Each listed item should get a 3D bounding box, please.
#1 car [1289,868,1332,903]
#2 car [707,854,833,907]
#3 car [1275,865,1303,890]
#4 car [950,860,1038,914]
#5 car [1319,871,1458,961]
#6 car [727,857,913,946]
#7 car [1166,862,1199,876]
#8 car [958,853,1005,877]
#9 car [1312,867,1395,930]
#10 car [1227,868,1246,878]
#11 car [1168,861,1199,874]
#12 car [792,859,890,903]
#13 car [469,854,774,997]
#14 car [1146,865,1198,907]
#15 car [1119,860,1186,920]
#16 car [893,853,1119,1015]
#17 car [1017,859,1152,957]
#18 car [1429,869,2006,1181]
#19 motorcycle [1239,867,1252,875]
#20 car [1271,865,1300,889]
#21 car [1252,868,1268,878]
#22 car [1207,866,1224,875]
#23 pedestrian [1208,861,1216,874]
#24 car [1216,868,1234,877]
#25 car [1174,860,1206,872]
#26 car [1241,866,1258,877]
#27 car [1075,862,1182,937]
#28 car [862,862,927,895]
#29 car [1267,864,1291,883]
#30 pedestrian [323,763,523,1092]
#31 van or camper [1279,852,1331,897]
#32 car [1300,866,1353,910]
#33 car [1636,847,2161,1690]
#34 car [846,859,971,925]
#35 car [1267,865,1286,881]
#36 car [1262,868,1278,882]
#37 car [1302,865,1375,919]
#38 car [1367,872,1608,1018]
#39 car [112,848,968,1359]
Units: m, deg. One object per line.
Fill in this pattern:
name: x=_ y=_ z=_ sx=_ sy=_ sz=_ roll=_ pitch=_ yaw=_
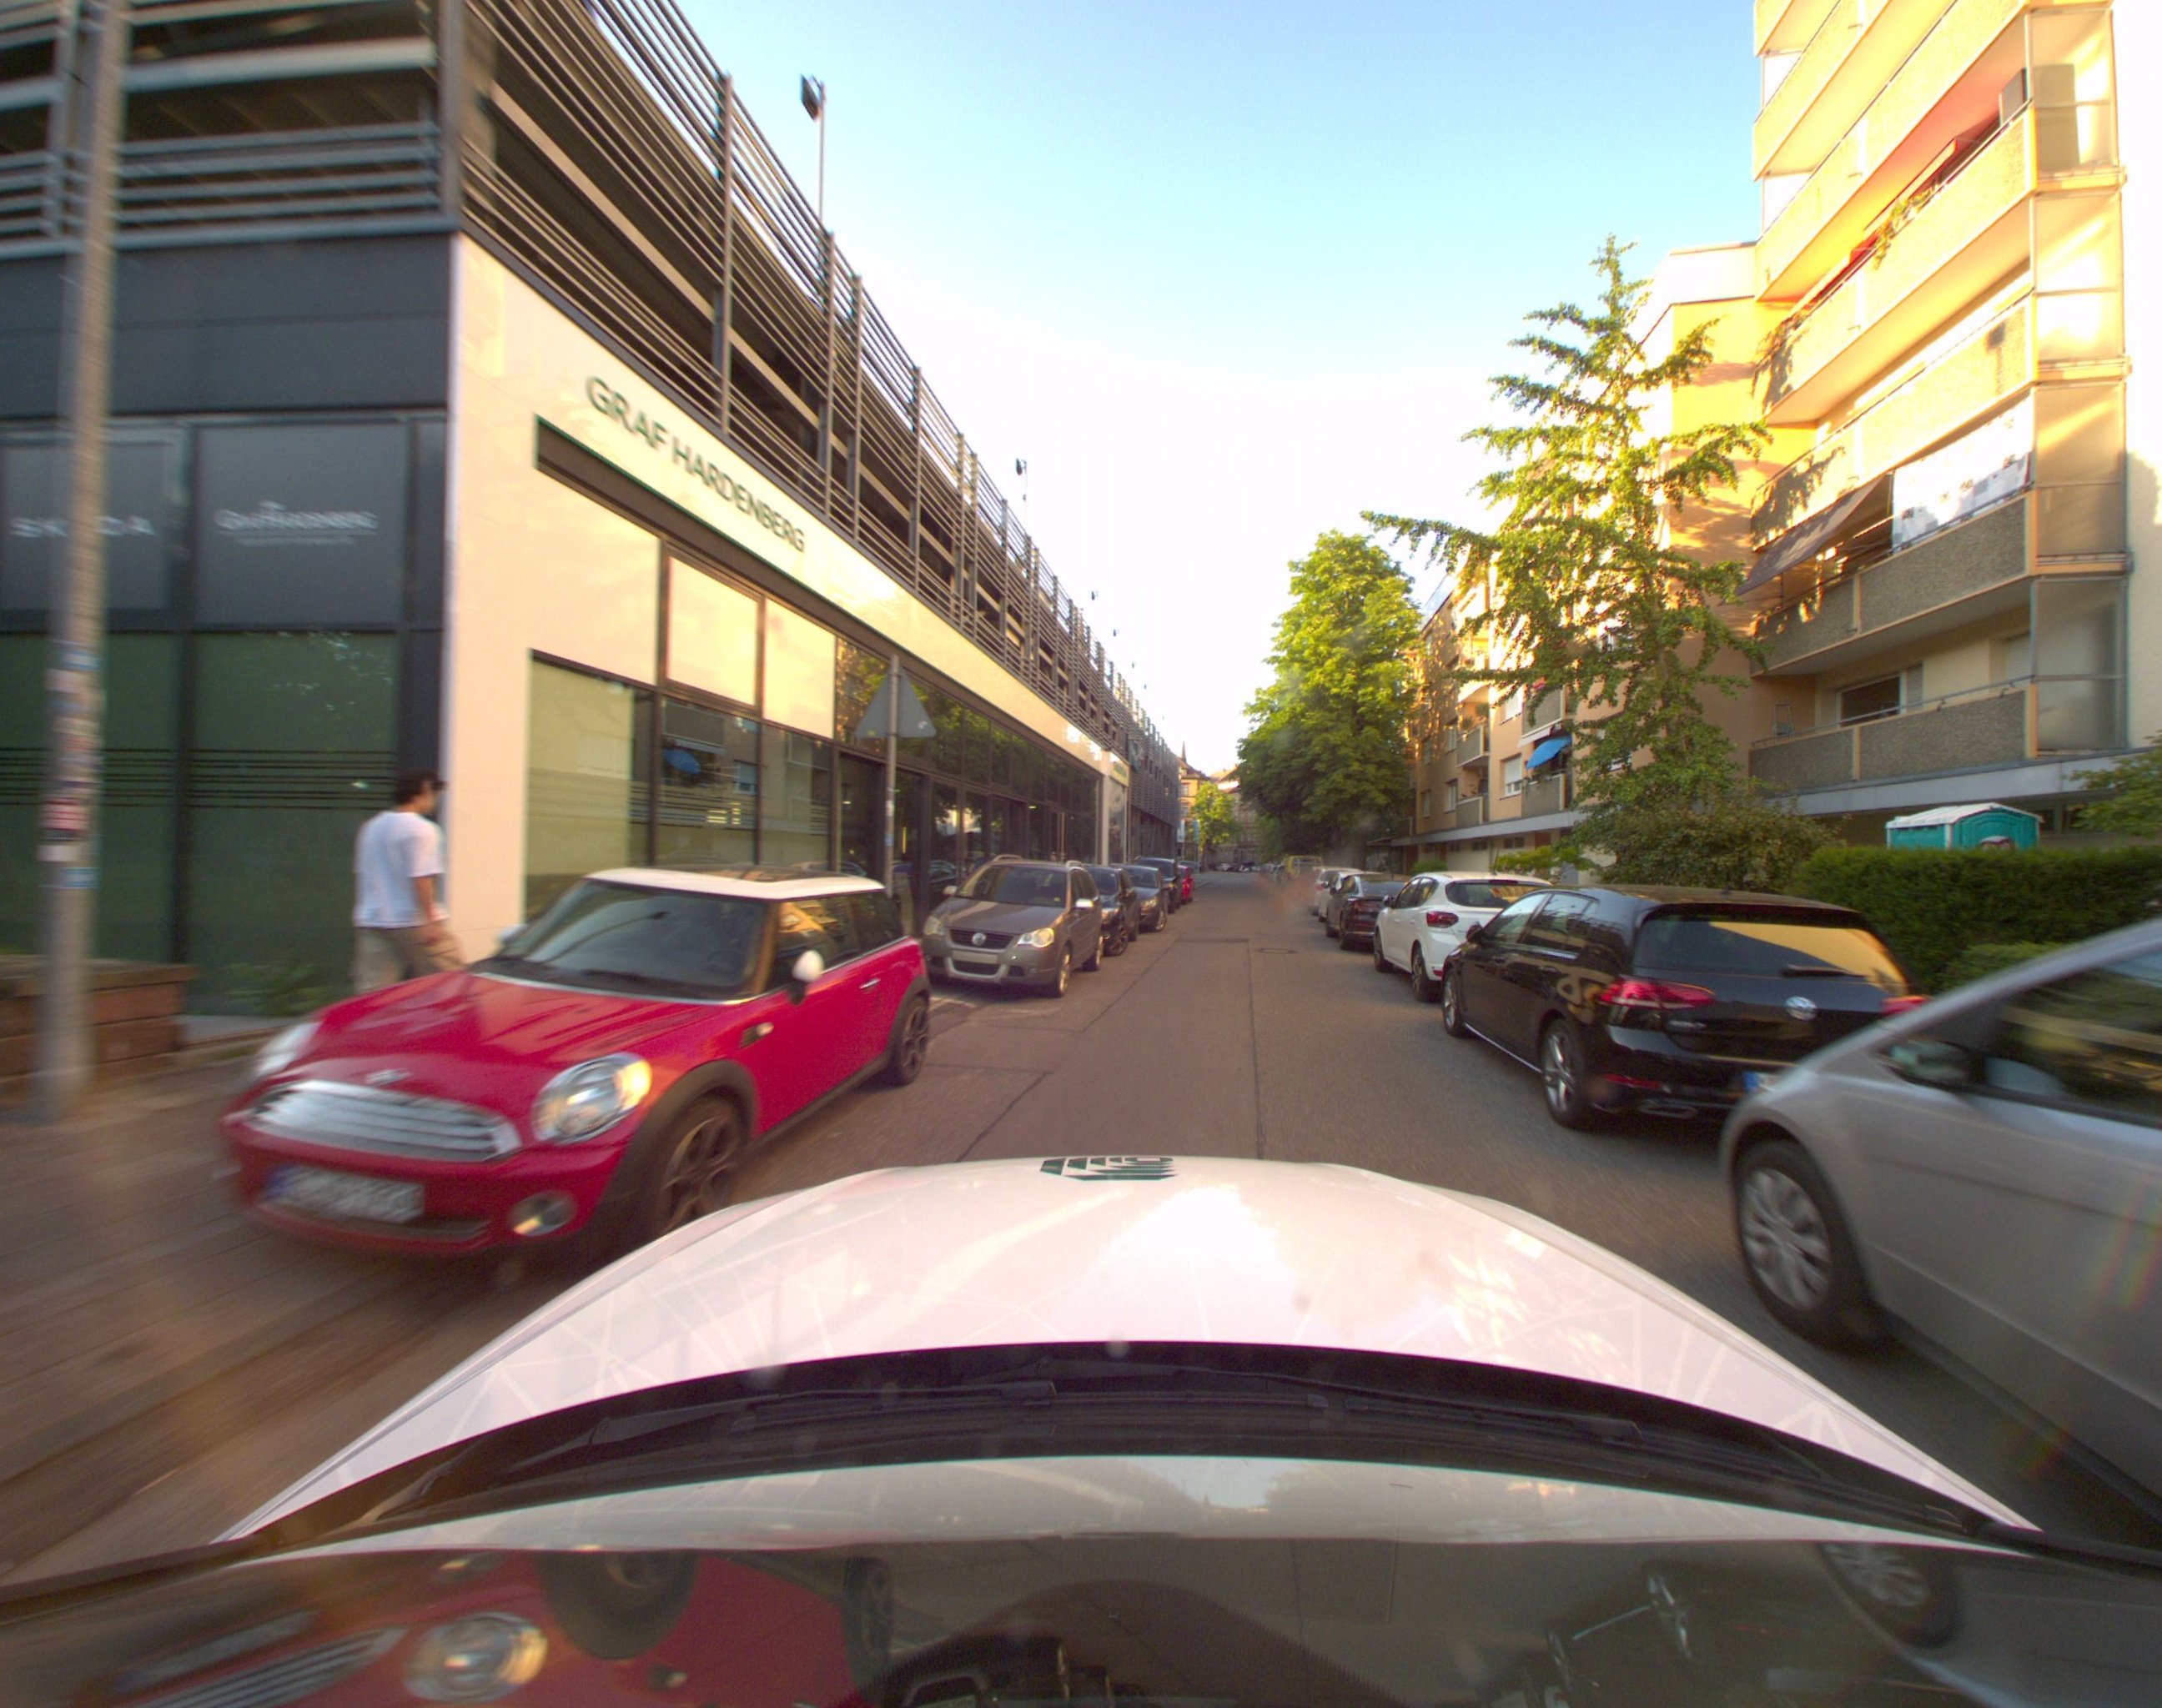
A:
car: x=10.034 y=1.328 z=35.781 sx=1.595 sy=1.382 sz=4.014 roll=1 pitch=0 yaw=13
car: x=-9.241 y=0.748 z=24.567 sx=1.686 sy=1.434 sz=3.932 roll=0 pitch=0 yaw=11
car: x=13.055 y=1.450 z=51.225 sx=1.553 sy=1.450 sz=3.464 roll=1 pitch=0 yaw=11
car: x=-2.792 y=1.029 z=27.233 sx=1.686 sy=1.658 sz=4.423 roll=0 pitch=0 yaw=11
car: x=5.814 y=1.084 z=15.935 sx=1.798 sy=1.417 sz=4.639 roll=0 pitch=0 yaw=11
car: x=-4.998 y=0.841 z=16.278 sx=1.686 sy=1.515 sz=4.205 roll=0 pitch=0 yaw=11
car: x=13.238 y=1.927 z=106.439 sx=4.105 sy=1.618 sz=1.918 roll=2 pitch=0 yaw=9
car: x=-5.296 y=0.565 z=43.766 sx=1.410 sy=1.255 sz=3.538 roll=1 pitch=0 yaw=12
car: x=7.152 y=1.111 z=21.725 sx=1.599 sy=1.461 sz=4.066 roll=0 pitch=0 yaw=11
car: x=25.659 y=3.112 z=134.625 sx=1.656 sy=1.431 sz=3.973 roll=1 pitch=0 yaw=-12
car: x=13.732 y=1.816 z=109.440 sx=4.043 sy=1.618 sz=1.770 roll=1 pitch=0 yaw=9
car: x=-8.422 y=0.905 z=28.945 sx=1.686 sy=1.434 sz=3.932 roll=0 pitch=0 yaw=11
car: x=-6.173 y=0.844 z=11.532 sx=1.583 sy=1.650 sz=3.888 roll=0 pitch=0 yaw=11
car: x=3.600 y=1.200 z=31.725 sx=1.686 sy=1.506 sz=3.802 roll=0 pitch=0 yaw=11
car: x=2.418 y=1.085 z=26.457 sx=1.686 sy=1.756 sz=4.416 roll=0 pitch=0 yaw=11
car: x=-0.715 y=0.845 z=10.434 sx=1.651 sy=1.497 sz=3.897 roll=6 pitch=1 yaw=12
car: x=0.218 y=0.883 z=15.138 sx=1.718 sy=1.402 sz=4.018 roll=6 pitch=1 yaw=10
car: x=3.919 y=0.846 z=5.984 sx=1.706 sy=1.419 sz=4.040 roll=0 pitch=0 yaw=11
motorcycle: x=26.531 y=2.776 z=131.186 sx=1.925 sy=1.340 sz=0.577 roll=1 pitch=0 yaw=1
car: x=14.124 y=1.568 z=56.414 sx=1.711 sy=1.519 sz=4.038 roll=1 pitch=0 yaw=11
car: x=30.531 y=3.260 z=138.958 sx=1.676 sy=1.526 sz=2.755 roll=1 pitch=0 yaw=-13
car: x=23.730 y=2.853 z=144.170 sx=1.656 sy=1.431 sz=3.879 roll=1 pitch=0 yaw=-13
pedestrian: x=18.048 y=1.892 z=112.362 sx=0.735 sy=1.804 sz=1.118 roll=1 pitch=0 yaw=-9
car: x=24.617 y=3.164 z=139.460 sx=1.655 sy=1.431 sz=4.152 roll=1 pitch=0 yaw=-11
car: x=16.723 y=1.835 z=124.860 sx=4.806 sy=1.732 sz=1.923 roll=1 pitch=0 yaw=5
car: x=29.515 y=3.047 z=142.694 sx=1.676 sy=1.782 sz=3.002 roll=1 pitch=0 yaw=-13
car: x=1.288 y=1.021 z=20.129 sx=1.924 sy=1.596 sz=4.220 roll=1 pitch=0 yaw=13
car: x=-7.706 y=0.976 z=33.882 sx=1.410 sy=1.255 sz=3.224 roll=1 pitch=0 yaw=12
car: x=16.161 y=1.570 z=66.530 sx=1.748 sy=1.442 sz=4.018 roll=1 pitch=0 yaw=11
pedestrian: x=-4.037 y=0.417 z=5.033 sx=0.716 sy=1.878 sz=0.622 roll=0 pitch=0 yaw=12
van or camper: x=11.206 y=0.974 z=41.002 sx=2.051 sy=2.096 sz=5.105 roll=1 pitch=0 yaw=10
car: x=9.209 y=1.234 z=30.766 sx=1.599 sy=1.510 sz=3.488 roll=0 pitch=0 yaw=11
car: x=2.931 y=0.780 z=1.482 sx=1.798 sy=1.576 sz=3.896 roll=0 pitch=0 yaw=11
car: x=-4.306 y=0.892 z=20.989 sx=1.686 sy=1.515 sz=4.006 roll=0 pitch=0 yaw=11
car: x=19.708 y=1.893 z=82.197 sx=1.748 sy=1.604 sz=3.885 roll=1 pitch=-1 yaw=11
car: x=21.728 y=2.400 z=93.732 sx=1.684 sy=1.477 sz=4.129 roll=1 pitch=-1 yaw=11
car: x=8.139 y=1.143 z=26.043 sx=1.780 sy=1.563 sz=4.206 roll=0 pitch=0 yaw=11
car: x=4.853 y=0.967 z=10.332 sx=1.798 sy=1.417 sz=3.908 roll=0 pitch=0 yaw=12
car: x=-2.052 y=0.773 z=4.544 sx=1.652 sy=1.410 sz=3.936 roll=6 pitch=0 yaw=8
